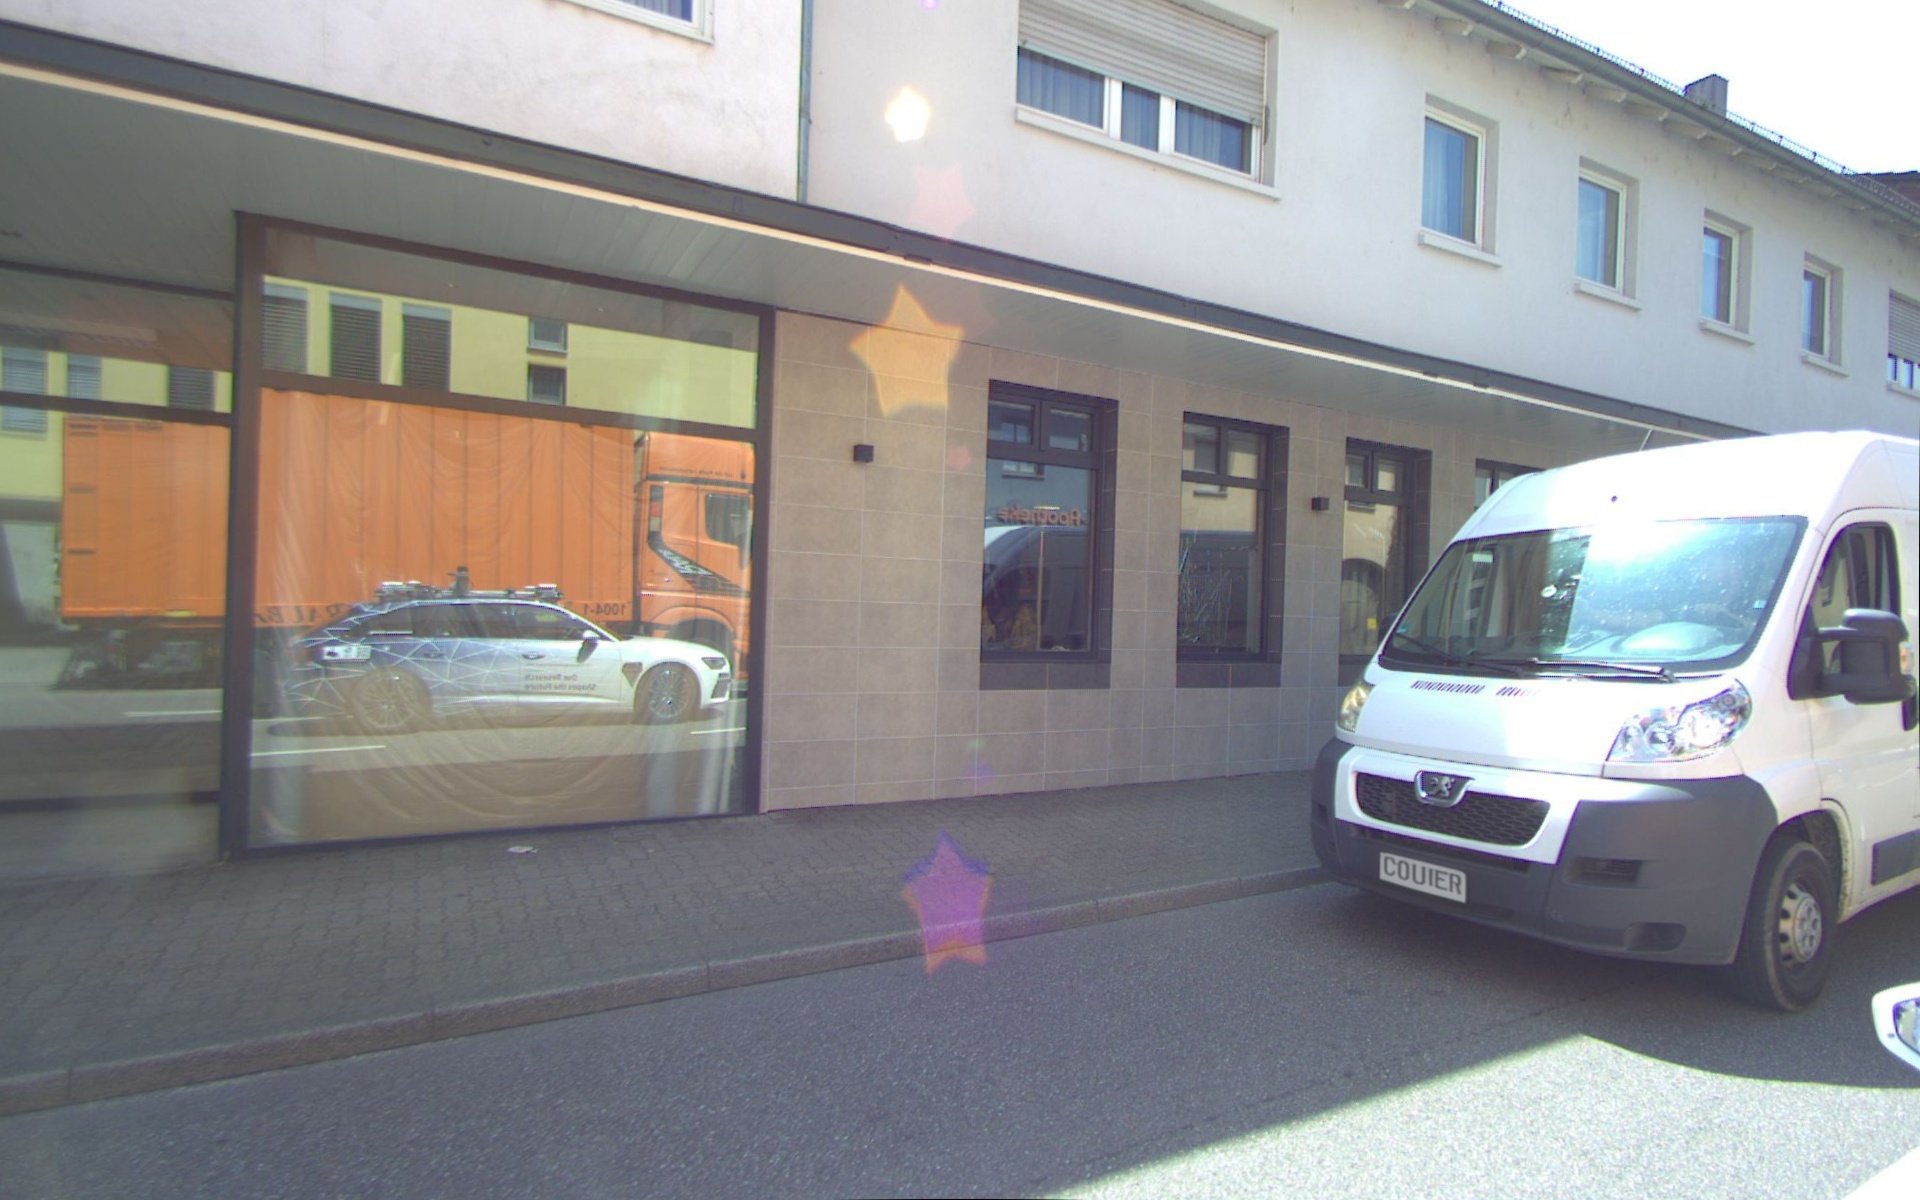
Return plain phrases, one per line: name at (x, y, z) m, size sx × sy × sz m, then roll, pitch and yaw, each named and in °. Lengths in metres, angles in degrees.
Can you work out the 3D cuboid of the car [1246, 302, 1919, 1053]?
car at (4.351, 0.330, 5.738) m, size 5.328 × 2.603 × 2.131 m, roll 1°, pitch -1°, yaw -29°
